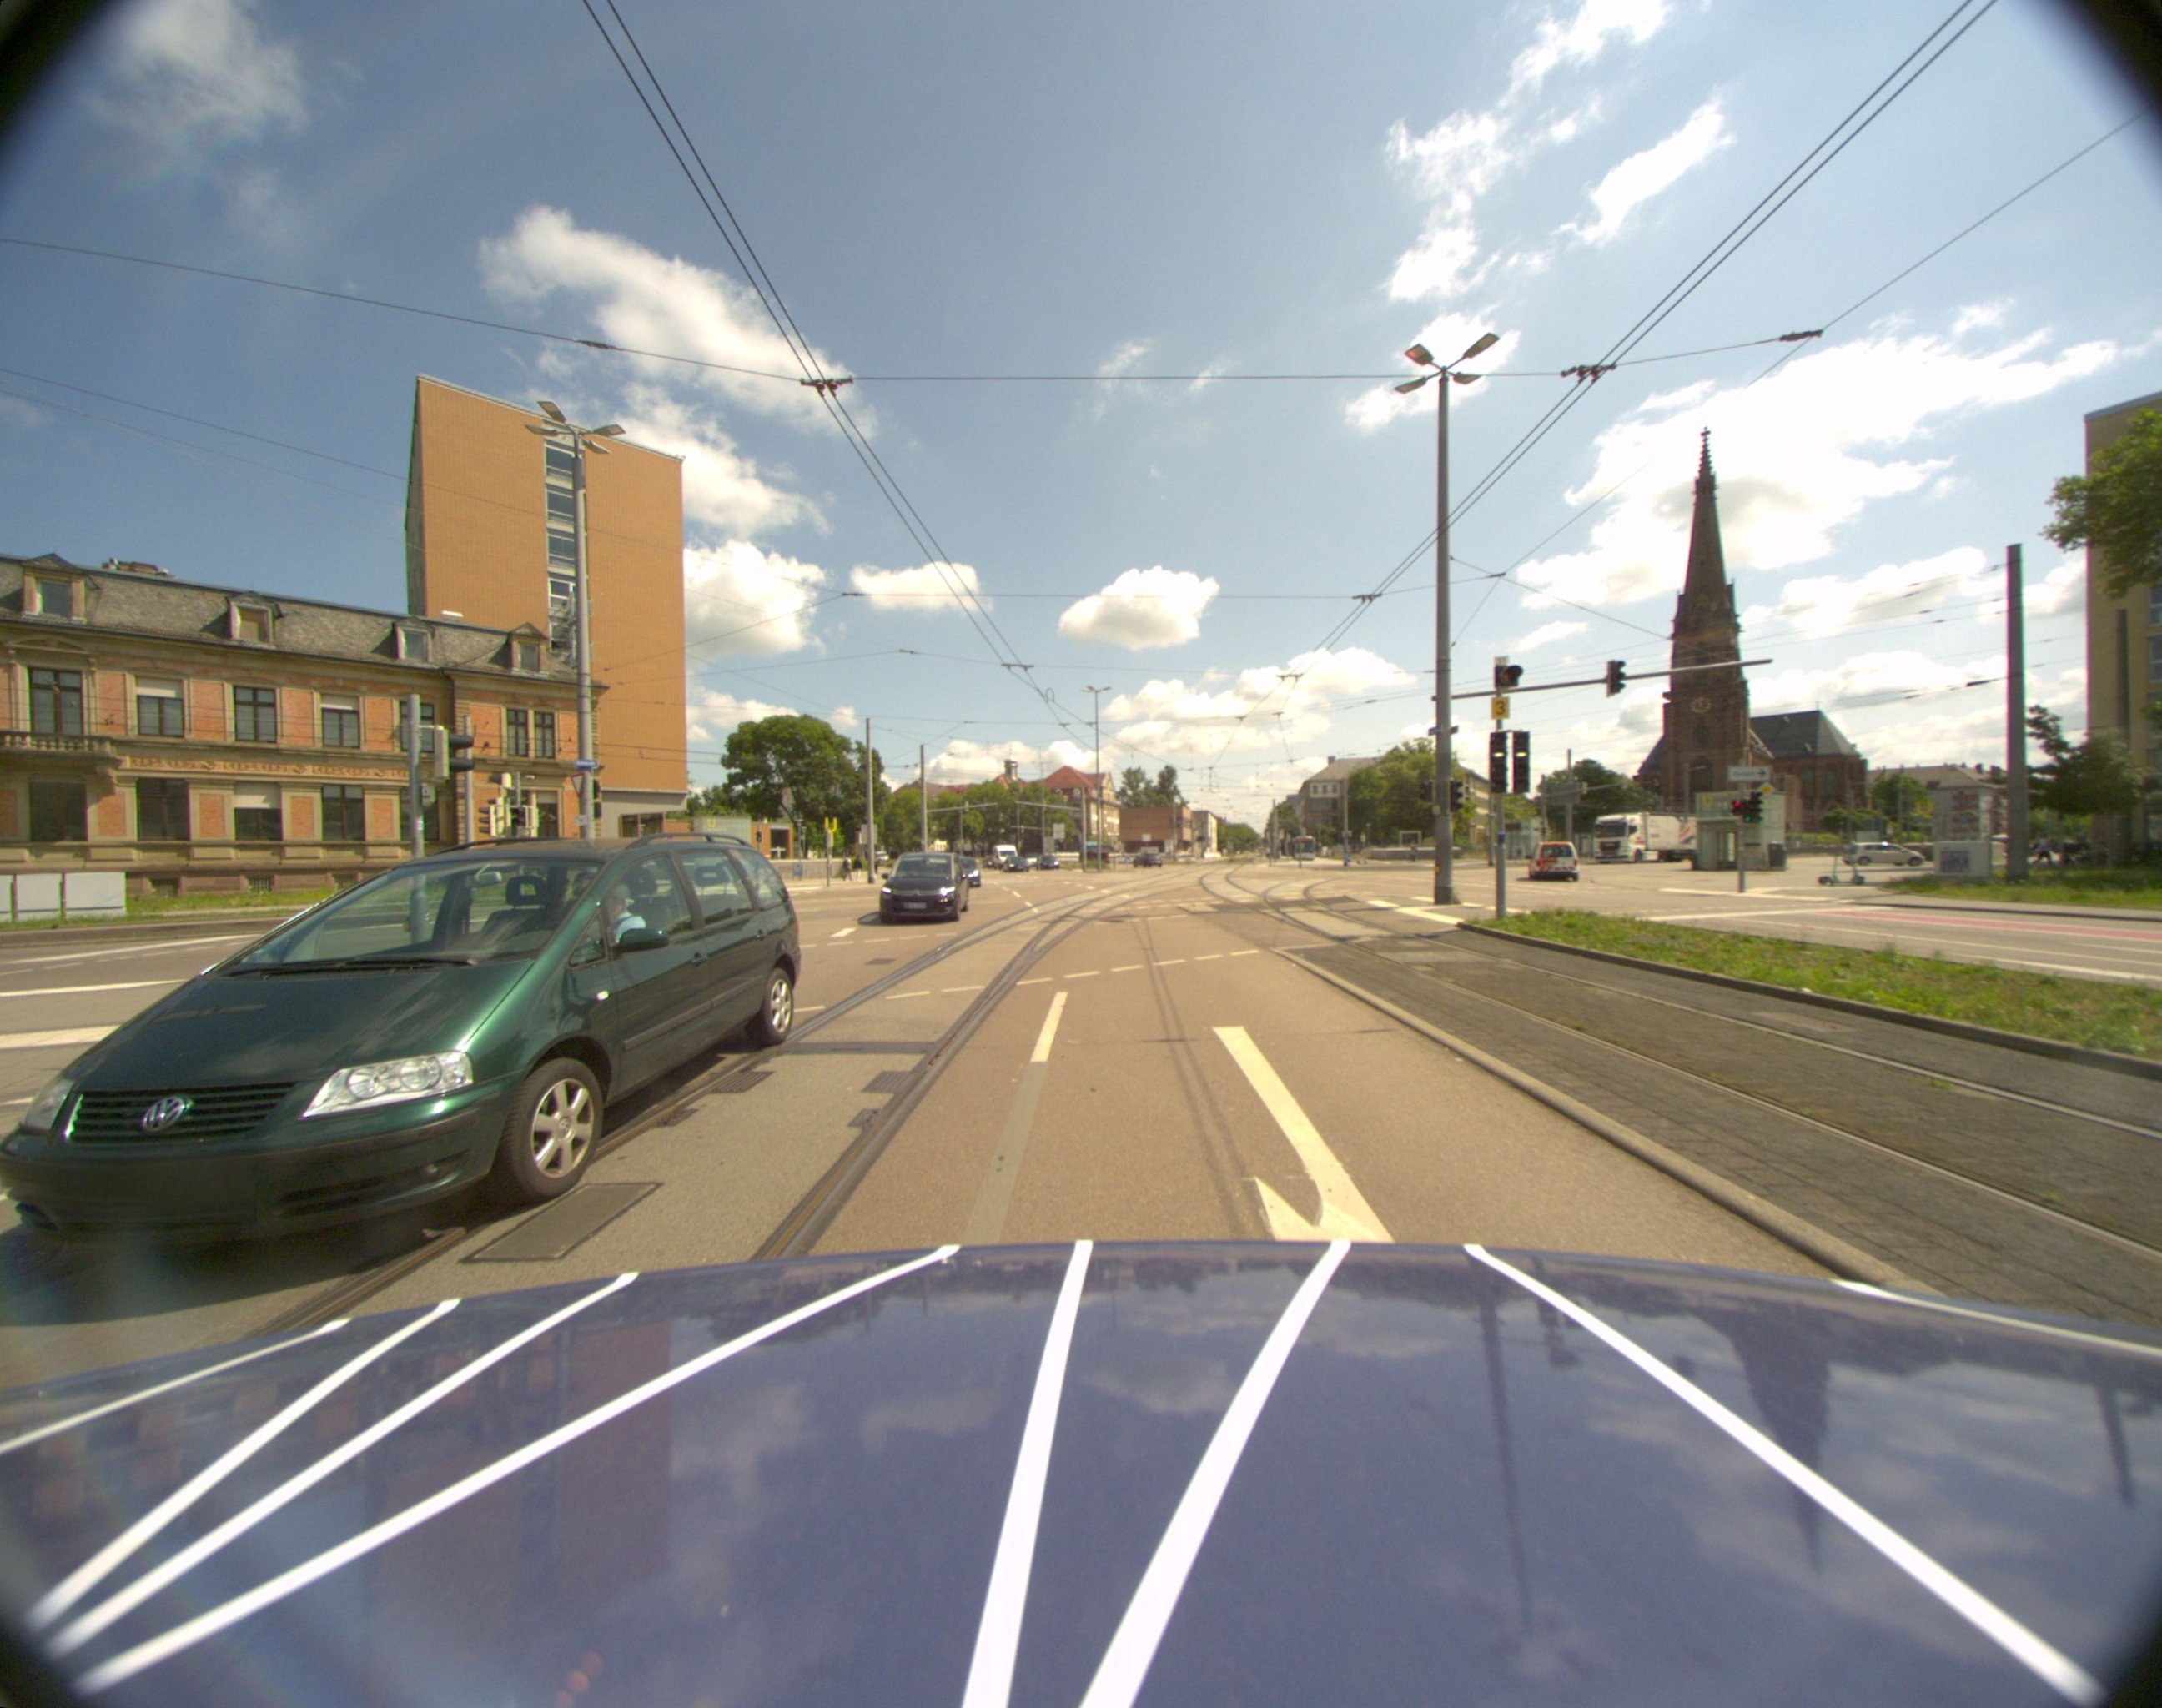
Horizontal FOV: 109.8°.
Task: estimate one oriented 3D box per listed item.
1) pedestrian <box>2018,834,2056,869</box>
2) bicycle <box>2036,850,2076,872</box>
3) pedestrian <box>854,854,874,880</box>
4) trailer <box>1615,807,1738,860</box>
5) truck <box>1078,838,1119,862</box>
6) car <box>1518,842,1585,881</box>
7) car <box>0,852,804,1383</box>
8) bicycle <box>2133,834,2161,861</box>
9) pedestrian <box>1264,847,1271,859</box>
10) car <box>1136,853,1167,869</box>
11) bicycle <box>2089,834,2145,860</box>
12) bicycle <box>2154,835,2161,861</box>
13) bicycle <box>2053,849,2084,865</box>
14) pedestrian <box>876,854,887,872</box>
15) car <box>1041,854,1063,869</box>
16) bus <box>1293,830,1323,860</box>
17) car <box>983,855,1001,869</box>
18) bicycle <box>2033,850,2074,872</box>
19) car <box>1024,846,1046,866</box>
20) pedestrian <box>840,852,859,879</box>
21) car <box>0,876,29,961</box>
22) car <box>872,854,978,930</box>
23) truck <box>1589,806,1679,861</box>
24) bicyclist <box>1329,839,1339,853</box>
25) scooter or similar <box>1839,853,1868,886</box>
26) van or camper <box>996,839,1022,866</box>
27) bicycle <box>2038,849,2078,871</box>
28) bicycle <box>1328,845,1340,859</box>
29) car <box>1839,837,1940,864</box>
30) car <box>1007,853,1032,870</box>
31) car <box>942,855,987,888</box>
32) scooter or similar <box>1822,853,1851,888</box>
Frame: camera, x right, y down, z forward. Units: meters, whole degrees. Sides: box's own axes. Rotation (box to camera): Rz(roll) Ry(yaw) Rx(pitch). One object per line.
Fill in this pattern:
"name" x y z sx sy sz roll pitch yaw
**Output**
"pedestrian" 42.469 -0.115 33.749 0.724 1.551 0.878 -1 0 -20
"bicycle" 50.932 0.349 39.702 0.460 1.139 1.270 -1 0 -32
"pedestrian" -14.636 0.870 51.265 1.029 1.710 0.726 -2 2 -38
"trailer" 49.238 -1.696 62.598 13.439 4.053 2.942 -1 1 -29
"truck" 2.230 -0.538 99.379 3.357 2.981 8.723 -1 1 -12
"car" 22.107 0.317 35.866 1.767 1.755 4.247 0 1 19
"car" -3.352 0.901 4.604 1.819 1.708 4.084 -2 1 -1
"bicycle" 49.907 -0.294 35.020 0.494 1.257 1.598 -2 1 -29
"pedestrian" 28.670 -0.225 116.971 0.910 1.812 1.022 1 1 11
"car" 7.022 0.712 76.263 1.816 1.551 4.102 0 0 -15
"bicycle" 51.262 -0.318 37.609 0.494 1.257 1.598 -2 1 -29
"bicycle" 49.399 -0.289 33.966 0.494 1.161 1.598 -2 1 -29
"bicycle" 56.552 0.171 43.516 0.379 0.932 1.063 -1 0 -32
"pedestrian" -17.464 0.788 66.368 0.830 1.576 0.767 -1 0 -9
"car" -2.774 0.695 72.190 1.672 1.368 3.912 -1 0 -9
"bus" 27.620 -1.082 92.743 2.947 3.427 7.955 -1 0 13
"car" -10.275 0.869 87.402 1.782 1.565 3.957 -1 0 -11
"bicycle" 50.432 0.352 39.408 0.460 1.139 1.270 -1 0 -32
"car" -4.826 0.214 79.842 1.816 2.002 3.996 -1 0 -11
"pedestrian" -15.694 0.779 51.561 1.029 1.802 0.726 -2 2 -38
"car" -22.039 1.255 12.930 4.434 1.578 1.869 -1 1 -36
"car" -3.768 0.842 19.124 1.873 1.607 4.425 -2 1 -2
"truck" 43.195 -1.566 59.303 6.888 4.095 2.957 -1 1 -28
"bicyclist" 37.213 -1.145 111.711 1.124 2.002 1.320 1 1 11
"scooter or similar" 26.714 0.541 26.285 0.416 1.118 0.556 -1 1 1
"van or camper" -7.529 -0.169 79.218 2.233 2.719 5.516 -1 0 -10
"bicycle" 51.561 0.340 40.110 0.460 1.139 1.270 -1 0 -32
"bicycle" 37.229 -0.311 111.869 1.246 2.002 3.487 -1 0 11
"car" 52.070 -0.204 49.033 4.163 1.633 1.632 -1 1 20
"car" -5.643 0.686 69.535 1.902 1.455 4.257 -1 1 -10
"car" -5.703 0.812 37.572 1.873 1.477 4.424 -1 1 -5
"scooter or similar" 26.069 0.563 26.221 0.462 1.193 0.549 -1 1 1
